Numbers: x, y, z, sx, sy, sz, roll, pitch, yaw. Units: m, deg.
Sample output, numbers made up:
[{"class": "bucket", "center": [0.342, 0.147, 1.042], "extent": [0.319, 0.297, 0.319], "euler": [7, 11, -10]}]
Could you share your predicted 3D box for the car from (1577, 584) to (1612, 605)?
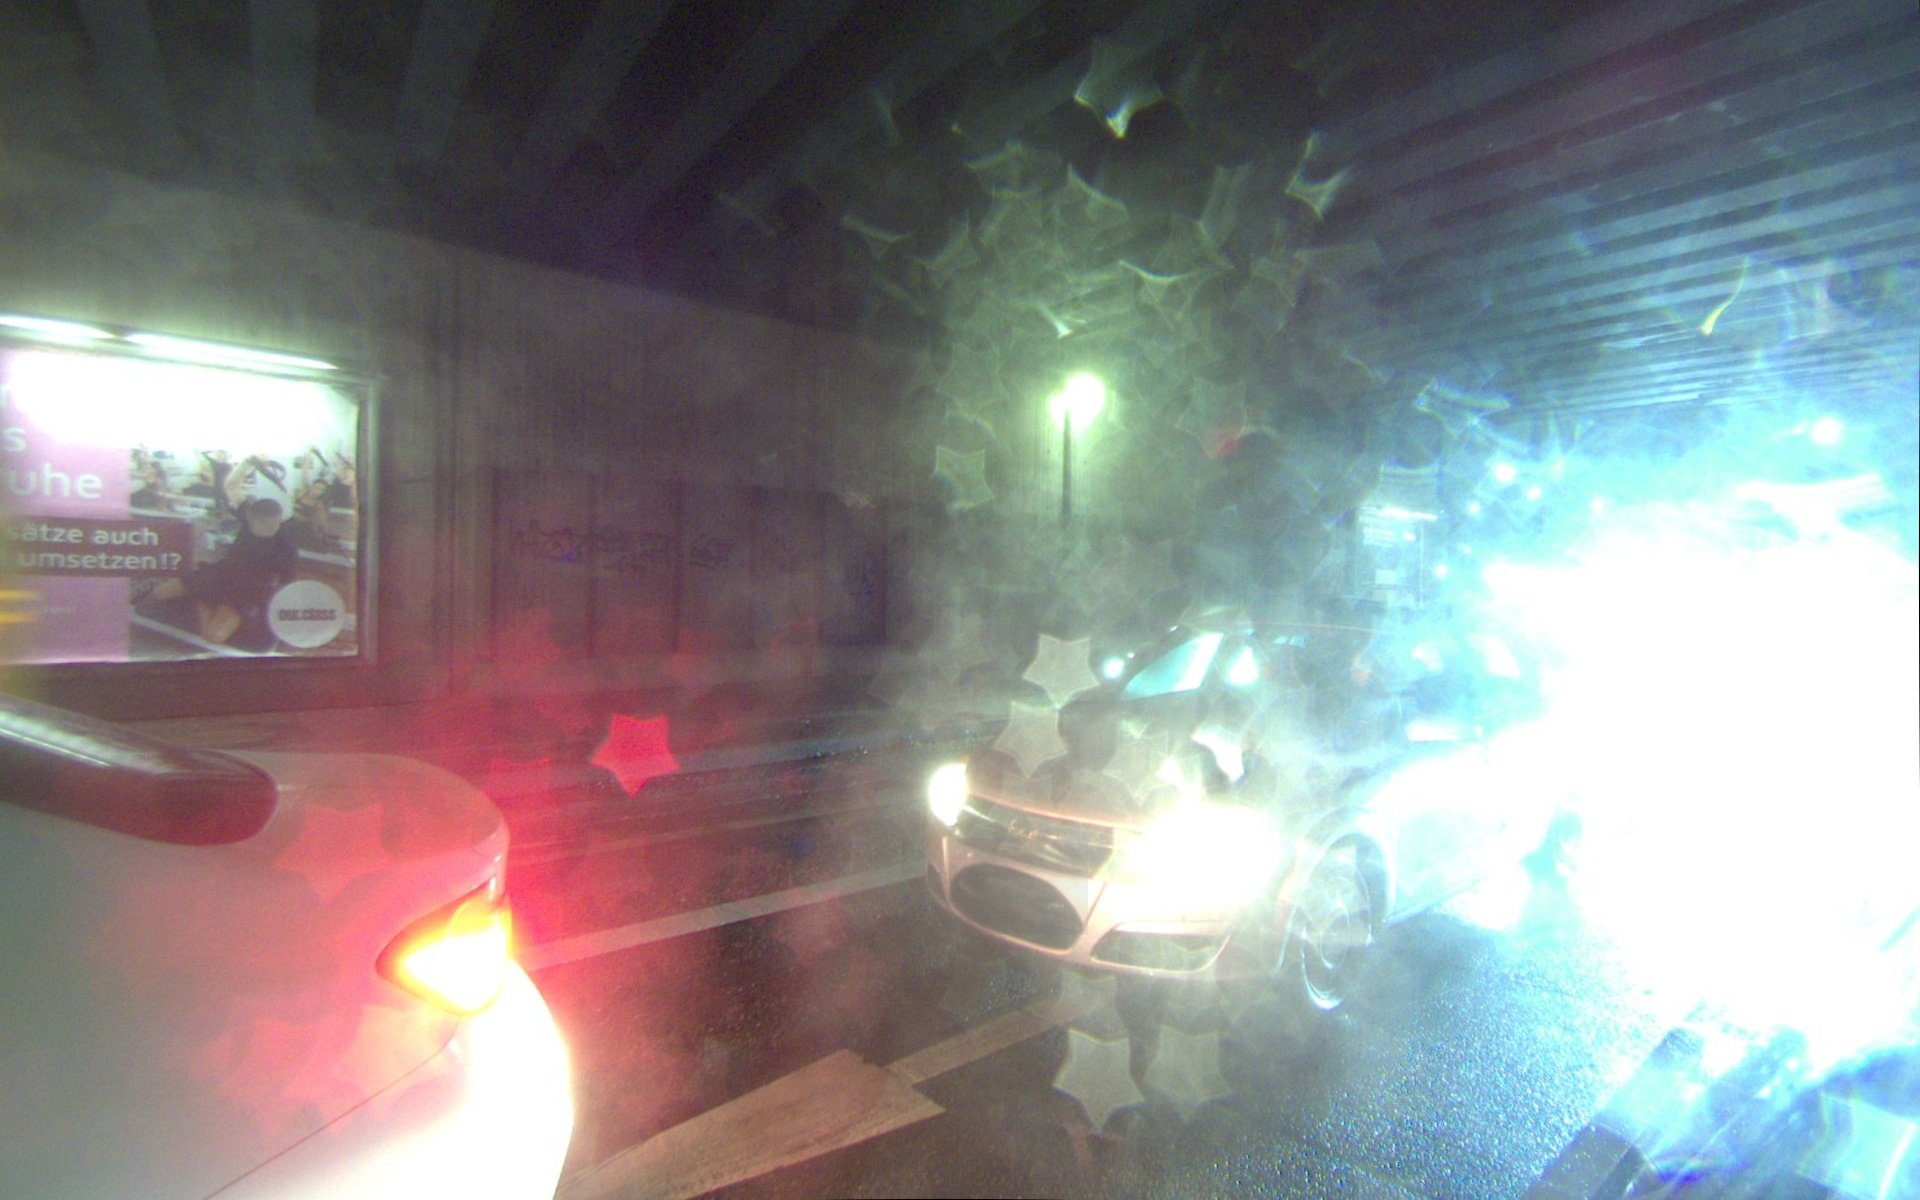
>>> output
[{"class": "car", "center": [46.486, -0.440, 74.165], "extent": [1.865, 1.490, 3.961], "euler": [0, 0, 28]}]

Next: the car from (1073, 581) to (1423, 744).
[{"class": "car", "center": [3.448, 0.545, 11.566], "extent": [4.552, 1.497, 1.839], "euler": [-1, 0, -44]}]

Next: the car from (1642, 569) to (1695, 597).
[{"class": "car", "center": [39.021, -0.976, 55.821], "extent": [1.836, 1.449, 4.460], "euler": [0, 2, 27]}]

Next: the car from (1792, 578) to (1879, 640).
[{"class": "car", "center": [24.552, 0.212, 28.332], "extent": [1.737, 1.610, 3.939], "euler": [0, 0, 42]}]

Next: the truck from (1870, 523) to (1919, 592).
[{"class": "truck", "center": [61.273, -2.637, 63.950], "extent": [3.929, 4.229, 6.321], "euler": [0, 0, 26]}]

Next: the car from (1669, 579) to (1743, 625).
[{"class": "car", "center": [26.224, 0.043, 35.520], "extent": [1.846, 1.474, 4.437], "euler": [1, 1, 40]}]

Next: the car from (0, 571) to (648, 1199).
[{"class": "car", "center": [-2.695, 0.688, 0.971], "extent": [4.273, 1.422, 1.719], "euler": [-1, 0, -41]}]

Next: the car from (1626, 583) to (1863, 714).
[{"class": "car", "center": [10.737, 0.549, 13.781], "extent": [3.701, 1.531, 1.867], "euler": [-1, 0, -41]}]

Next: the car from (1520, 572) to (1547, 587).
[{"class": "car", "center": [58.158, -2.032, 102.636], "extent": [1.861, 1.490, 3.970], "euler": [0, 0, 22]}]

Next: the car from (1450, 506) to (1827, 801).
[{"class": "car", "center": [6.471, 0.360, 9.458], "extent": [4.274, 2.115, 1.996], "euler": [-1, 0, -43]}]

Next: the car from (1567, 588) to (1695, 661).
[{"class": "car", "center": [15.704, 0.529, 23.578], "extent": [1.847, 1.503, 4.559], "euler": [2, 1, 42]}]

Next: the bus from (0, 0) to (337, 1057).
[{"class": "bus", "center": [-6.709, -0.288, 1.518], "extent": [9.584, 3.163, 2.775], "euler": [0, 0, -39]}]

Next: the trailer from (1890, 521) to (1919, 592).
[{"class": "trailer", "center": [58.156, -2.560, 57.579], "extent": [3.930, 4.229, 13.795], "euler": [0, 0, 26]}]

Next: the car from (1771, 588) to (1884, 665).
[{"class": "car", "center": [18.716, 0.495, 21.776], "extent": [1.678, 1.490, 3.938], "euler": [0, 0, 43]}]

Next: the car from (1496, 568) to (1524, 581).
[{"class": "car", "center": [65.289, -2.974, 120.174], "extent": [1.853, 1.490, 3.986], "euler": [0, 0, 12]}]

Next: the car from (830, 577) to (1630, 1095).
[{"class": "car", "center": [1.528, 0.624, 4.803], "extent": [3.931, 1.384, 1.791], "euler": [-2, 2, -41]}]

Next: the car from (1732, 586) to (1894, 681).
[{"class": "car", "center": [15.333, 0.521, 18.131], "extent": [3.930, 1.522, 1.628], "euler": [-1, 0, -41]}]
